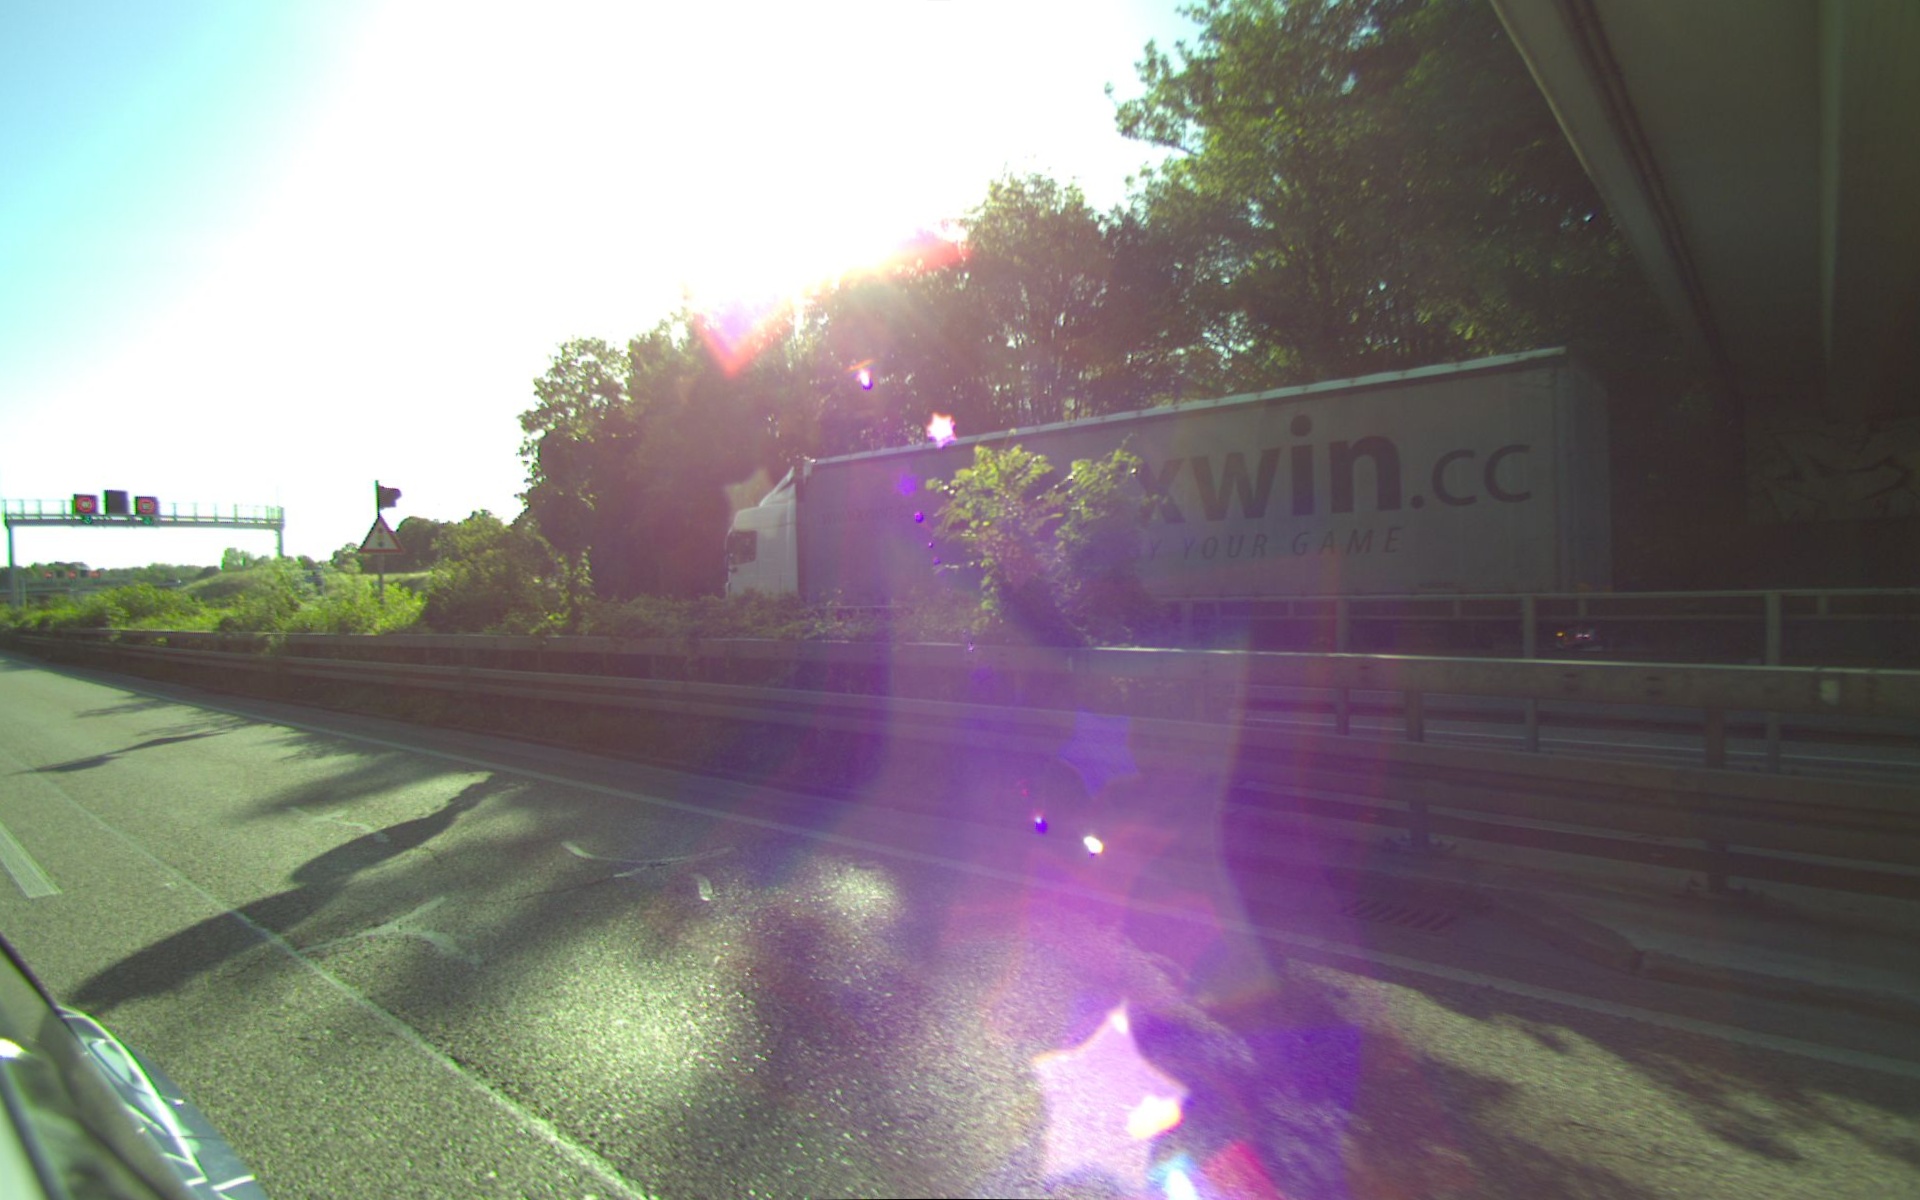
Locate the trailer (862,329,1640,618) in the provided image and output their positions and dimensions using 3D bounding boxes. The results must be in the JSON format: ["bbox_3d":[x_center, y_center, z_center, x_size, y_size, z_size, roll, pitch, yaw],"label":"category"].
[{"bbox_3d":[3.558,-1.343,16.238,11.912,3.192,2.899,-1,0,42],"label":"trailer"}]

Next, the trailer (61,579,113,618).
[{"bbox_3d":[-94.136,-0.100,108.988,14.031,4.018,2.989,-1,0,44],"label":"trailer"}]

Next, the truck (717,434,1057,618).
[{"bbox_3d":[-1.732,-1.259,20.955,7.081,3.192,2.899,-1,0,42],"label":"truck"}]
